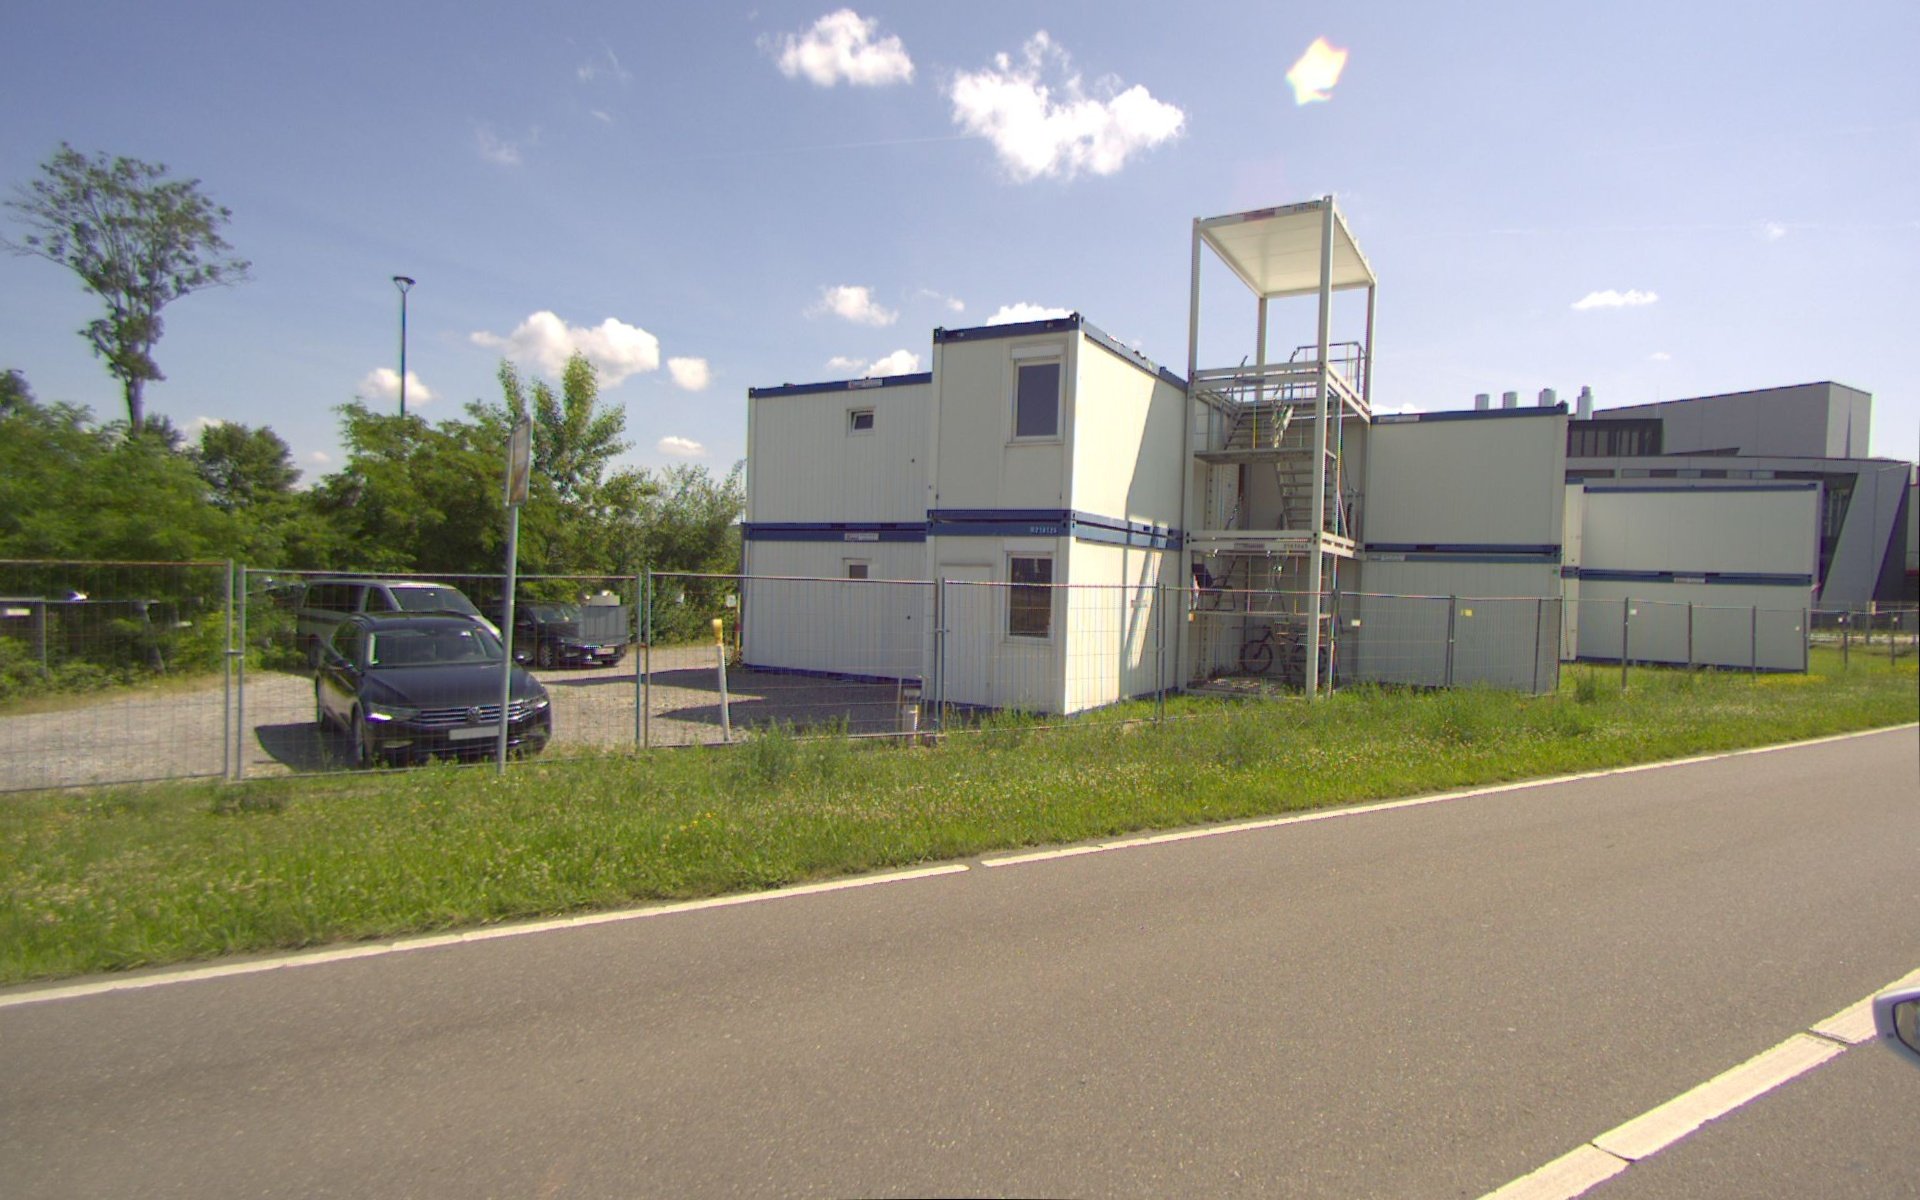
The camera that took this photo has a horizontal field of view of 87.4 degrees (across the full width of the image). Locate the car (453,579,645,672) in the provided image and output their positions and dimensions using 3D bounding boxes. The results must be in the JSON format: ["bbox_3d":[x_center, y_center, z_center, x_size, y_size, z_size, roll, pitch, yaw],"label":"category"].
[{"bbox_3d":[-9.644,0.522,23.502,4.237,1.892,1.996,3,2,31],"label":"car"}]

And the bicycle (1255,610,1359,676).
[{"bbox_3d":[7.399,0.895,21.453,2.010,1.318,0.607,1,0,30],"label":"bicycle"}]

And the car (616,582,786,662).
[{"bbox_3d":[-6.990,0.528,26.998,4.237,1.892,1.996,3,2,31],"label":"car"}]

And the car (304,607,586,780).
[{"bbox_3d":[-6.265,0.888,11.869,1.983,1.436,4.928,0,2,-39],"label":"car"}]

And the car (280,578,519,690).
[{"bbox_3d":[-11.378,0.593,20.300,4.932,1.892,1.996,3,2,31],"label":"car"}]

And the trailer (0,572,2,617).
[{"bbox_3d":[-42.796,-0.283,42.970,3.935,1.905,1.993,1,0,37],"label":"trailer"}]

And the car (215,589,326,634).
[{"bbox_3d":[-26.469,0.425,38.542,3.929,1.574,1.996,1,0,30],"label":"car"}]
